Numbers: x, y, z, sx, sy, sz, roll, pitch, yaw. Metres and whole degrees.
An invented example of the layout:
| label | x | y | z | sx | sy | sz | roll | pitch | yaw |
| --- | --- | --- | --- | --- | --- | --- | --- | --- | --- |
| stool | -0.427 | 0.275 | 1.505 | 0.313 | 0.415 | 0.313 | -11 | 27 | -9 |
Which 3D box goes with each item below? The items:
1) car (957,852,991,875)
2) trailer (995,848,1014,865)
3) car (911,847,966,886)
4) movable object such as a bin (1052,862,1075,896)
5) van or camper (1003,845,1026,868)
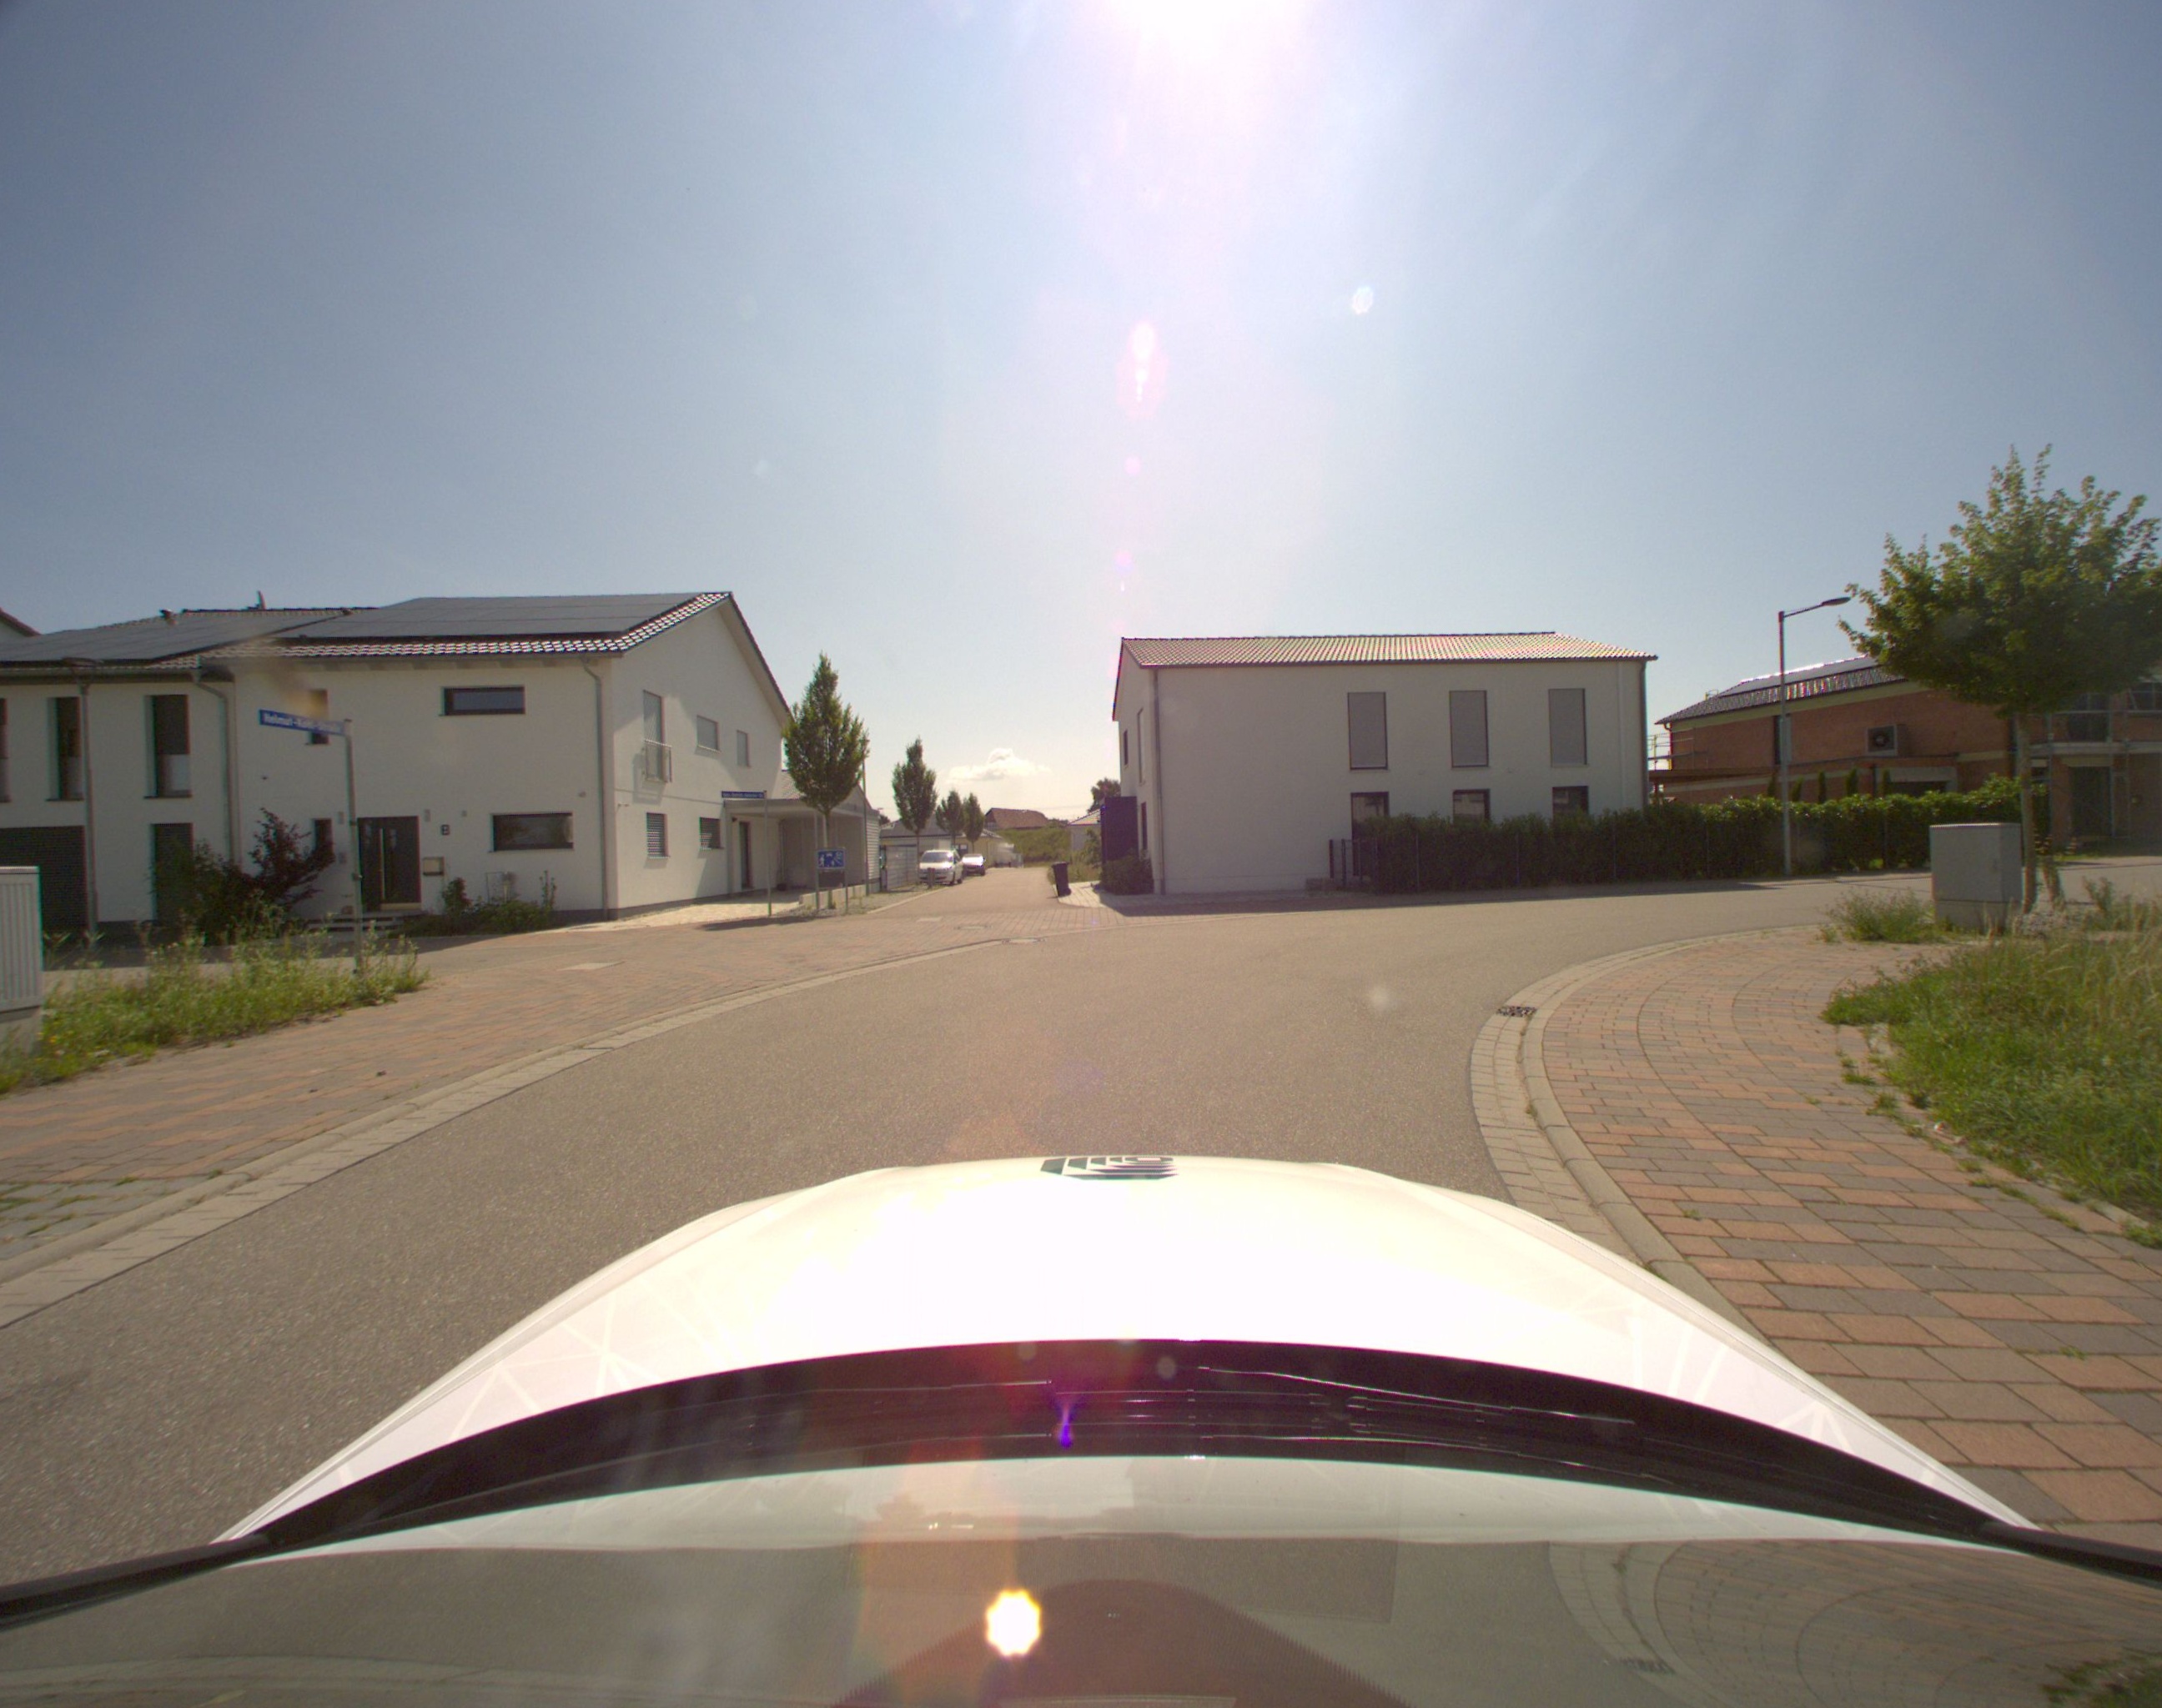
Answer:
| label | x | y | z | sx | sy | sz | roll | pitch | yaw |
| --- | --- | --- | --- | --- | --- | --- | --- | --- | --- |
| car | -7.752 | 0.700 | 59.499 | 1.988 | 1.614 | 4.481 | 0 | 0 | -2 |
| trailer | -7.566 | 0.270 | 80.815 | 1.622 | 1.614 | 2.560 | 0 | 0 | -2 |
| car | -6.916 | 0.592 | 40.048 | 1.988 | 1.790 | 4.644 | 0 | 0 | -2 |
| movable object such as a bin | -0.512 | 0.714 | 23.542 | 0.598 | 0.948 | 0.501 | -3 | 0 | -3 |
| van or camper | -7.178 | 0.287 | 88.208 | 2.257 | 2.411 | 4.841 | 0 | 0 | -2 |
